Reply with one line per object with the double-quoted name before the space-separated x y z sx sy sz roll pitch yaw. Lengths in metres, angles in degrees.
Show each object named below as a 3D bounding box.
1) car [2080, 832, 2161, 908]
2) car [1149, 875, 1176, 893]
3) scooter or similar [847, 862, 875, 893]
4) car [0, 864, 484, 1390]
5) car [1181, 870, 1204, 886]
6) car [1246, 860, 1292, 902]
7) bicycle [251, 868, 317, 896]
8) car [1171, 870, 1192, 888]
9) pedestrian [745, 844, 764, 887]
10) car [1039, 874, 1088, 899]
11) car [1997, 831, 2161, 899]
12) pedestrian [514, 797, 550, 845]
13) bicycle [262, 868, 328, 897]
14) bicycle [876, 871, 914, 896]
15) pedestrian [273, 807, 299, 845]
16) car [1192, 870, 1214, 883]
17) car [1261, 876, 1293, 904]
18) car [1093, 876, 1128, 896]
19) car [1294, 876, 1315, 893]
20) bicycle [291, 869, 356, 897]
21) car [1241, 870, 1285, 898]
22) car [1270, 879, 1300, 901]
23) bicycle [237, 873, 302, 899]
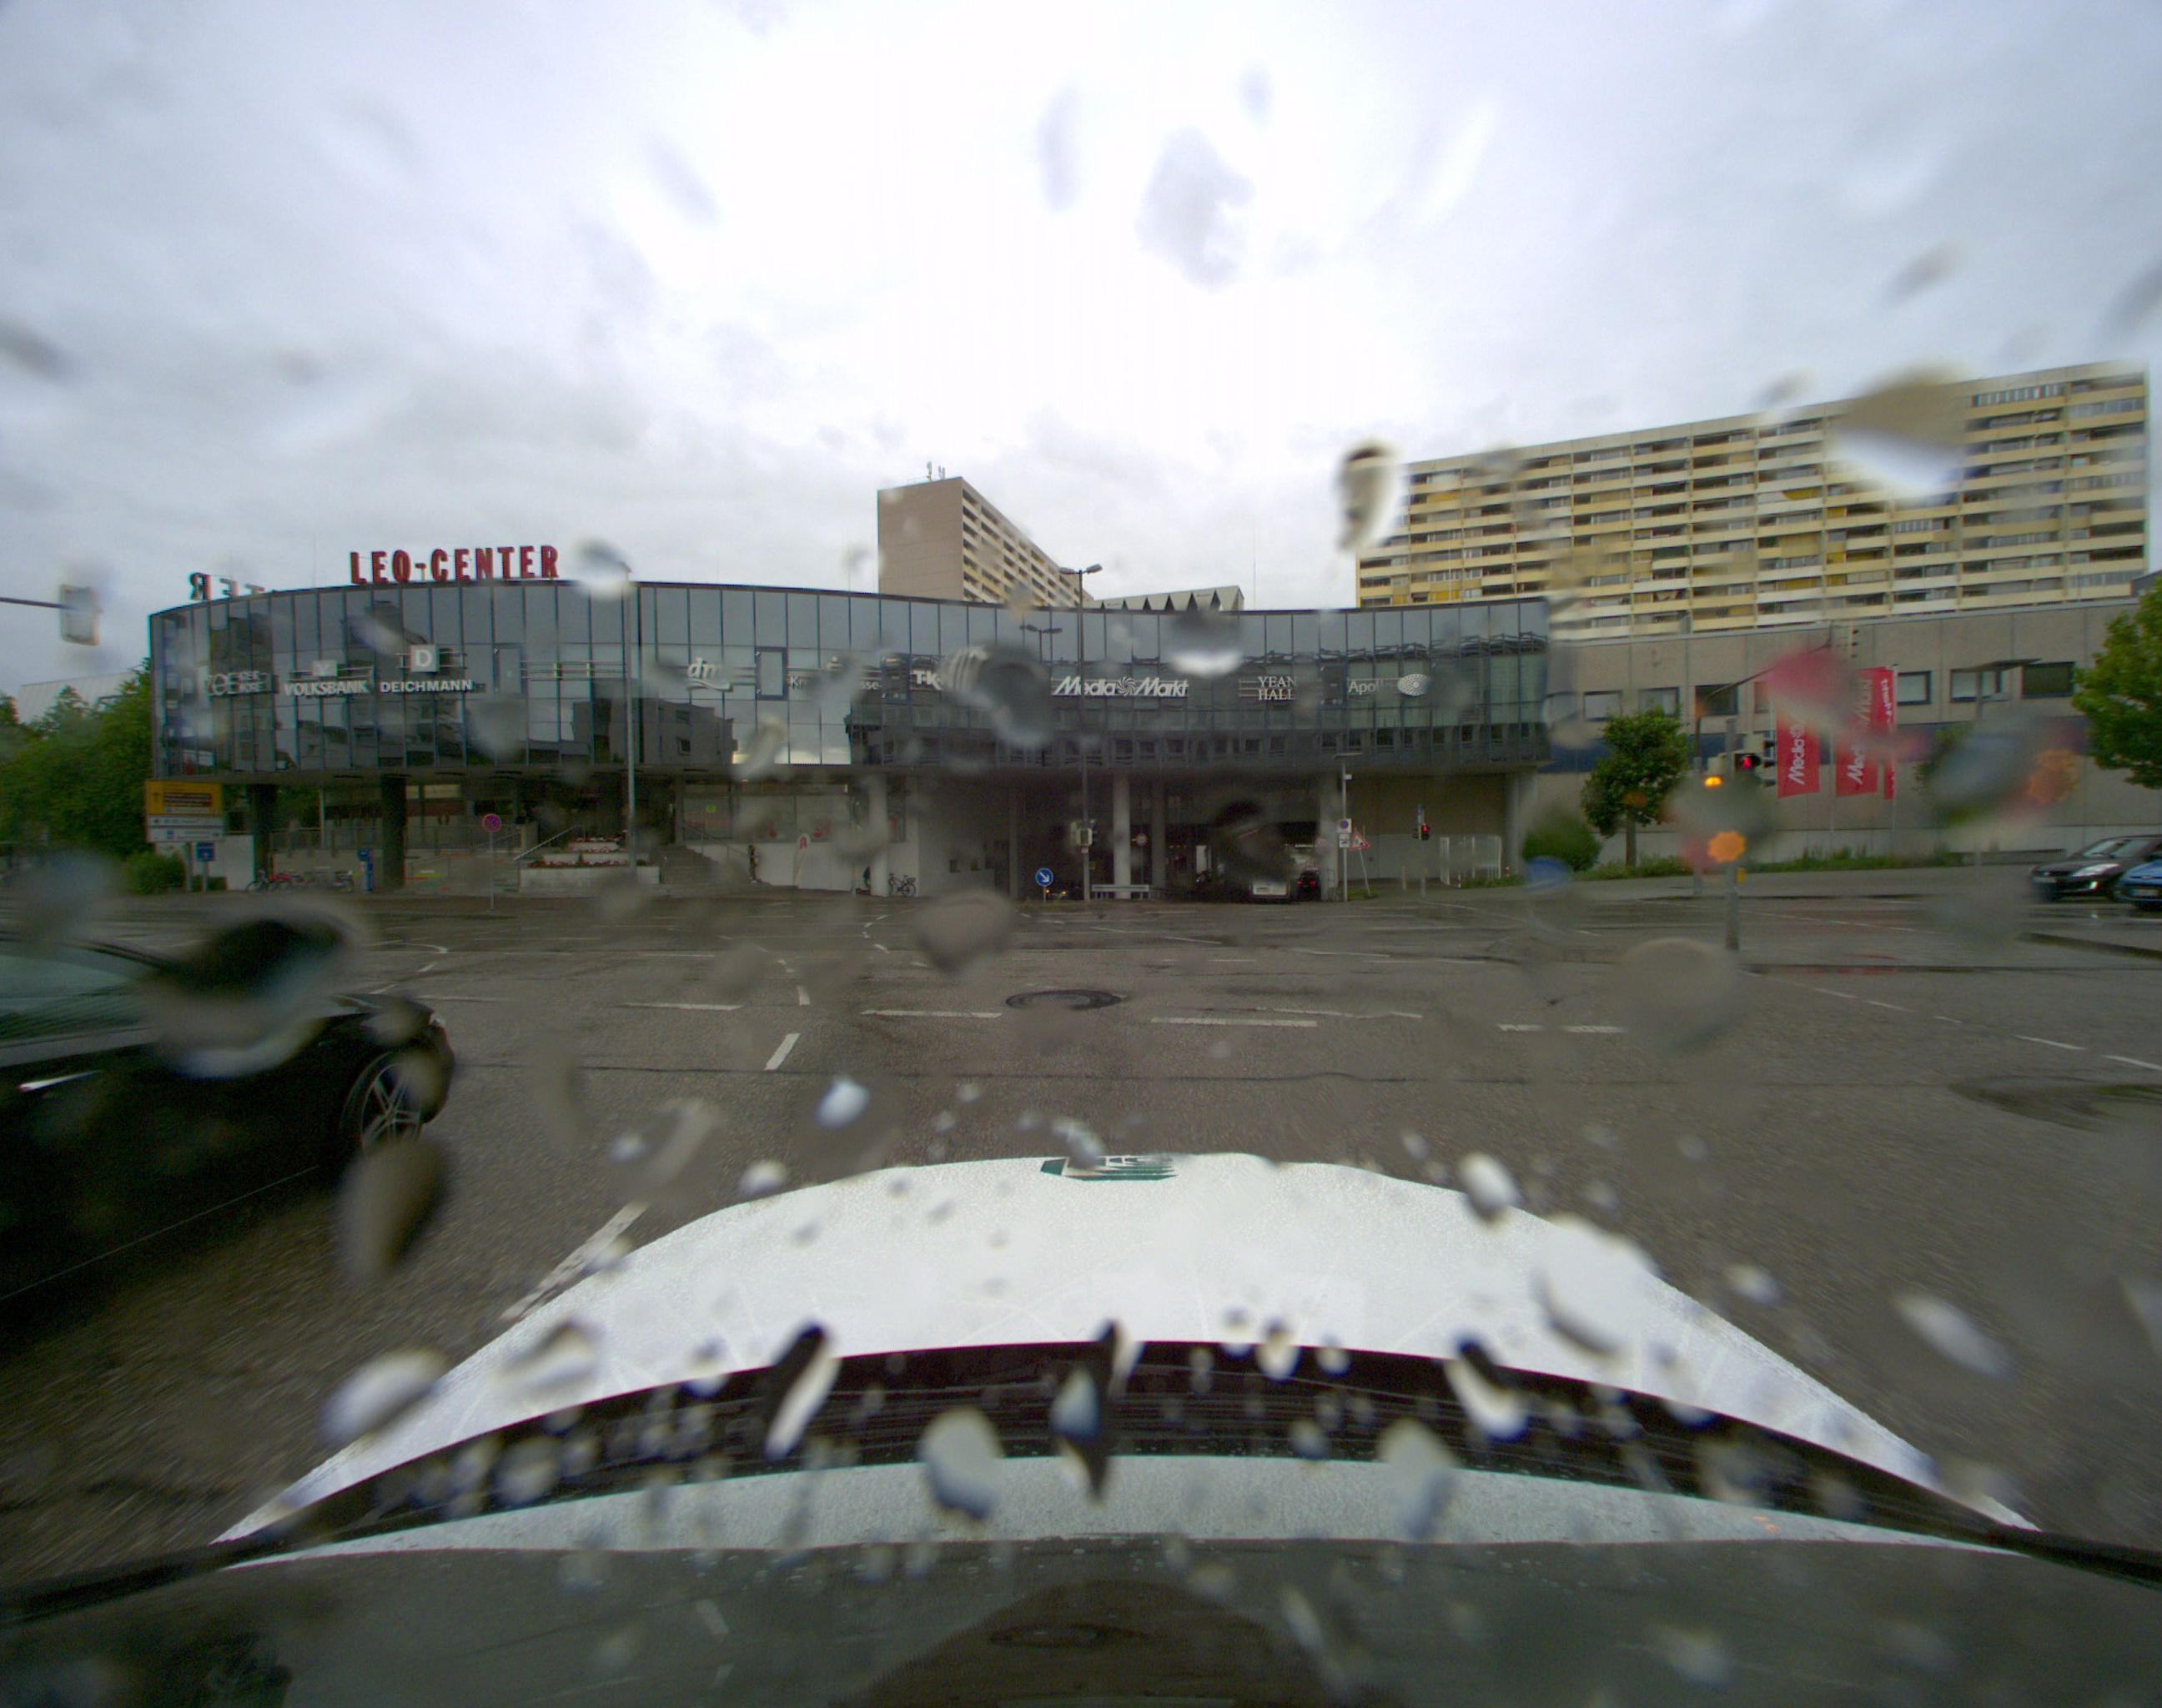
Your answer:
"car" 22.240 0.242 15.555 3.820 1.397 1.683 -2 0 9
"car" 8.039 2.892 80.107 1.900 1.588 3.956 -1 0 16
"scooter or similar" -10.016 1.062 37.069 1.168 1.373 0.487 1 0 -15
"car" -3.986 0.807 2.497 1.661 1.481 4.084 1 0 -7
"car" 12.493 2.648 90.868 1.978 1.663 4.017 1 0 16
"car" 8.567 1.222 37.440 1.913 1.797 4.310 -1 -1 11
"bicycle" -33.902 1.176 34.656 0.622 1.033 1.864 -1 3 19
"car" 10.480 2.612 84.721 1.824 1.727 4.013 0 0 12
"pedestrian" -14.468 0.498 36.082 0.655 1.908 0.593 0 0 -7
"car" -1.073 2.068 51.340 1.878 1.470 4.044 -1 -4 17
"car" 23.751 0.217 18.452 3.661 1.394 1.749 -2 0 10
"pedestrian" -23.736 -1.413 35.242 0.824 2.013 0.955 1 0 12
"bicycle" -33.187 1.184 34.427 0.640 1.042 1.864 -1 3 19
"bicycle" -8.548 1.369 37.468 1.591 1.018 0.448 6 -2 -30
"pedestrian" -36.909 -1.305 37.808 0.592 1.713 0.658 1 0 24
"car" 14.746 2.720 98.312 1.978 1.464 4.017 -1 0 16
"car" 11.899 2.209 49.329 1.620 1.612 4.279 -1 -4 16
"car" 2.309 2.481 63.260 1.757 1.464 3.892 -1 -2 16
"car" 21.816 2.929 79.678 1.874 1.491 3.856 1 0 14
"bicycle" -31.588 1.193 33.983 0.625 1.023 1.864 -1 2 19
"car" 10.126 1.695 45.059 1.742 1.464 3.963 -2 -3 22
"car" 13.722 2.427 54.630 1.766 1.400 4.016 -1 -2 16
"bicycle" -34.600 1.351 34.763 0.530 0.951 1.865 1 4 22
